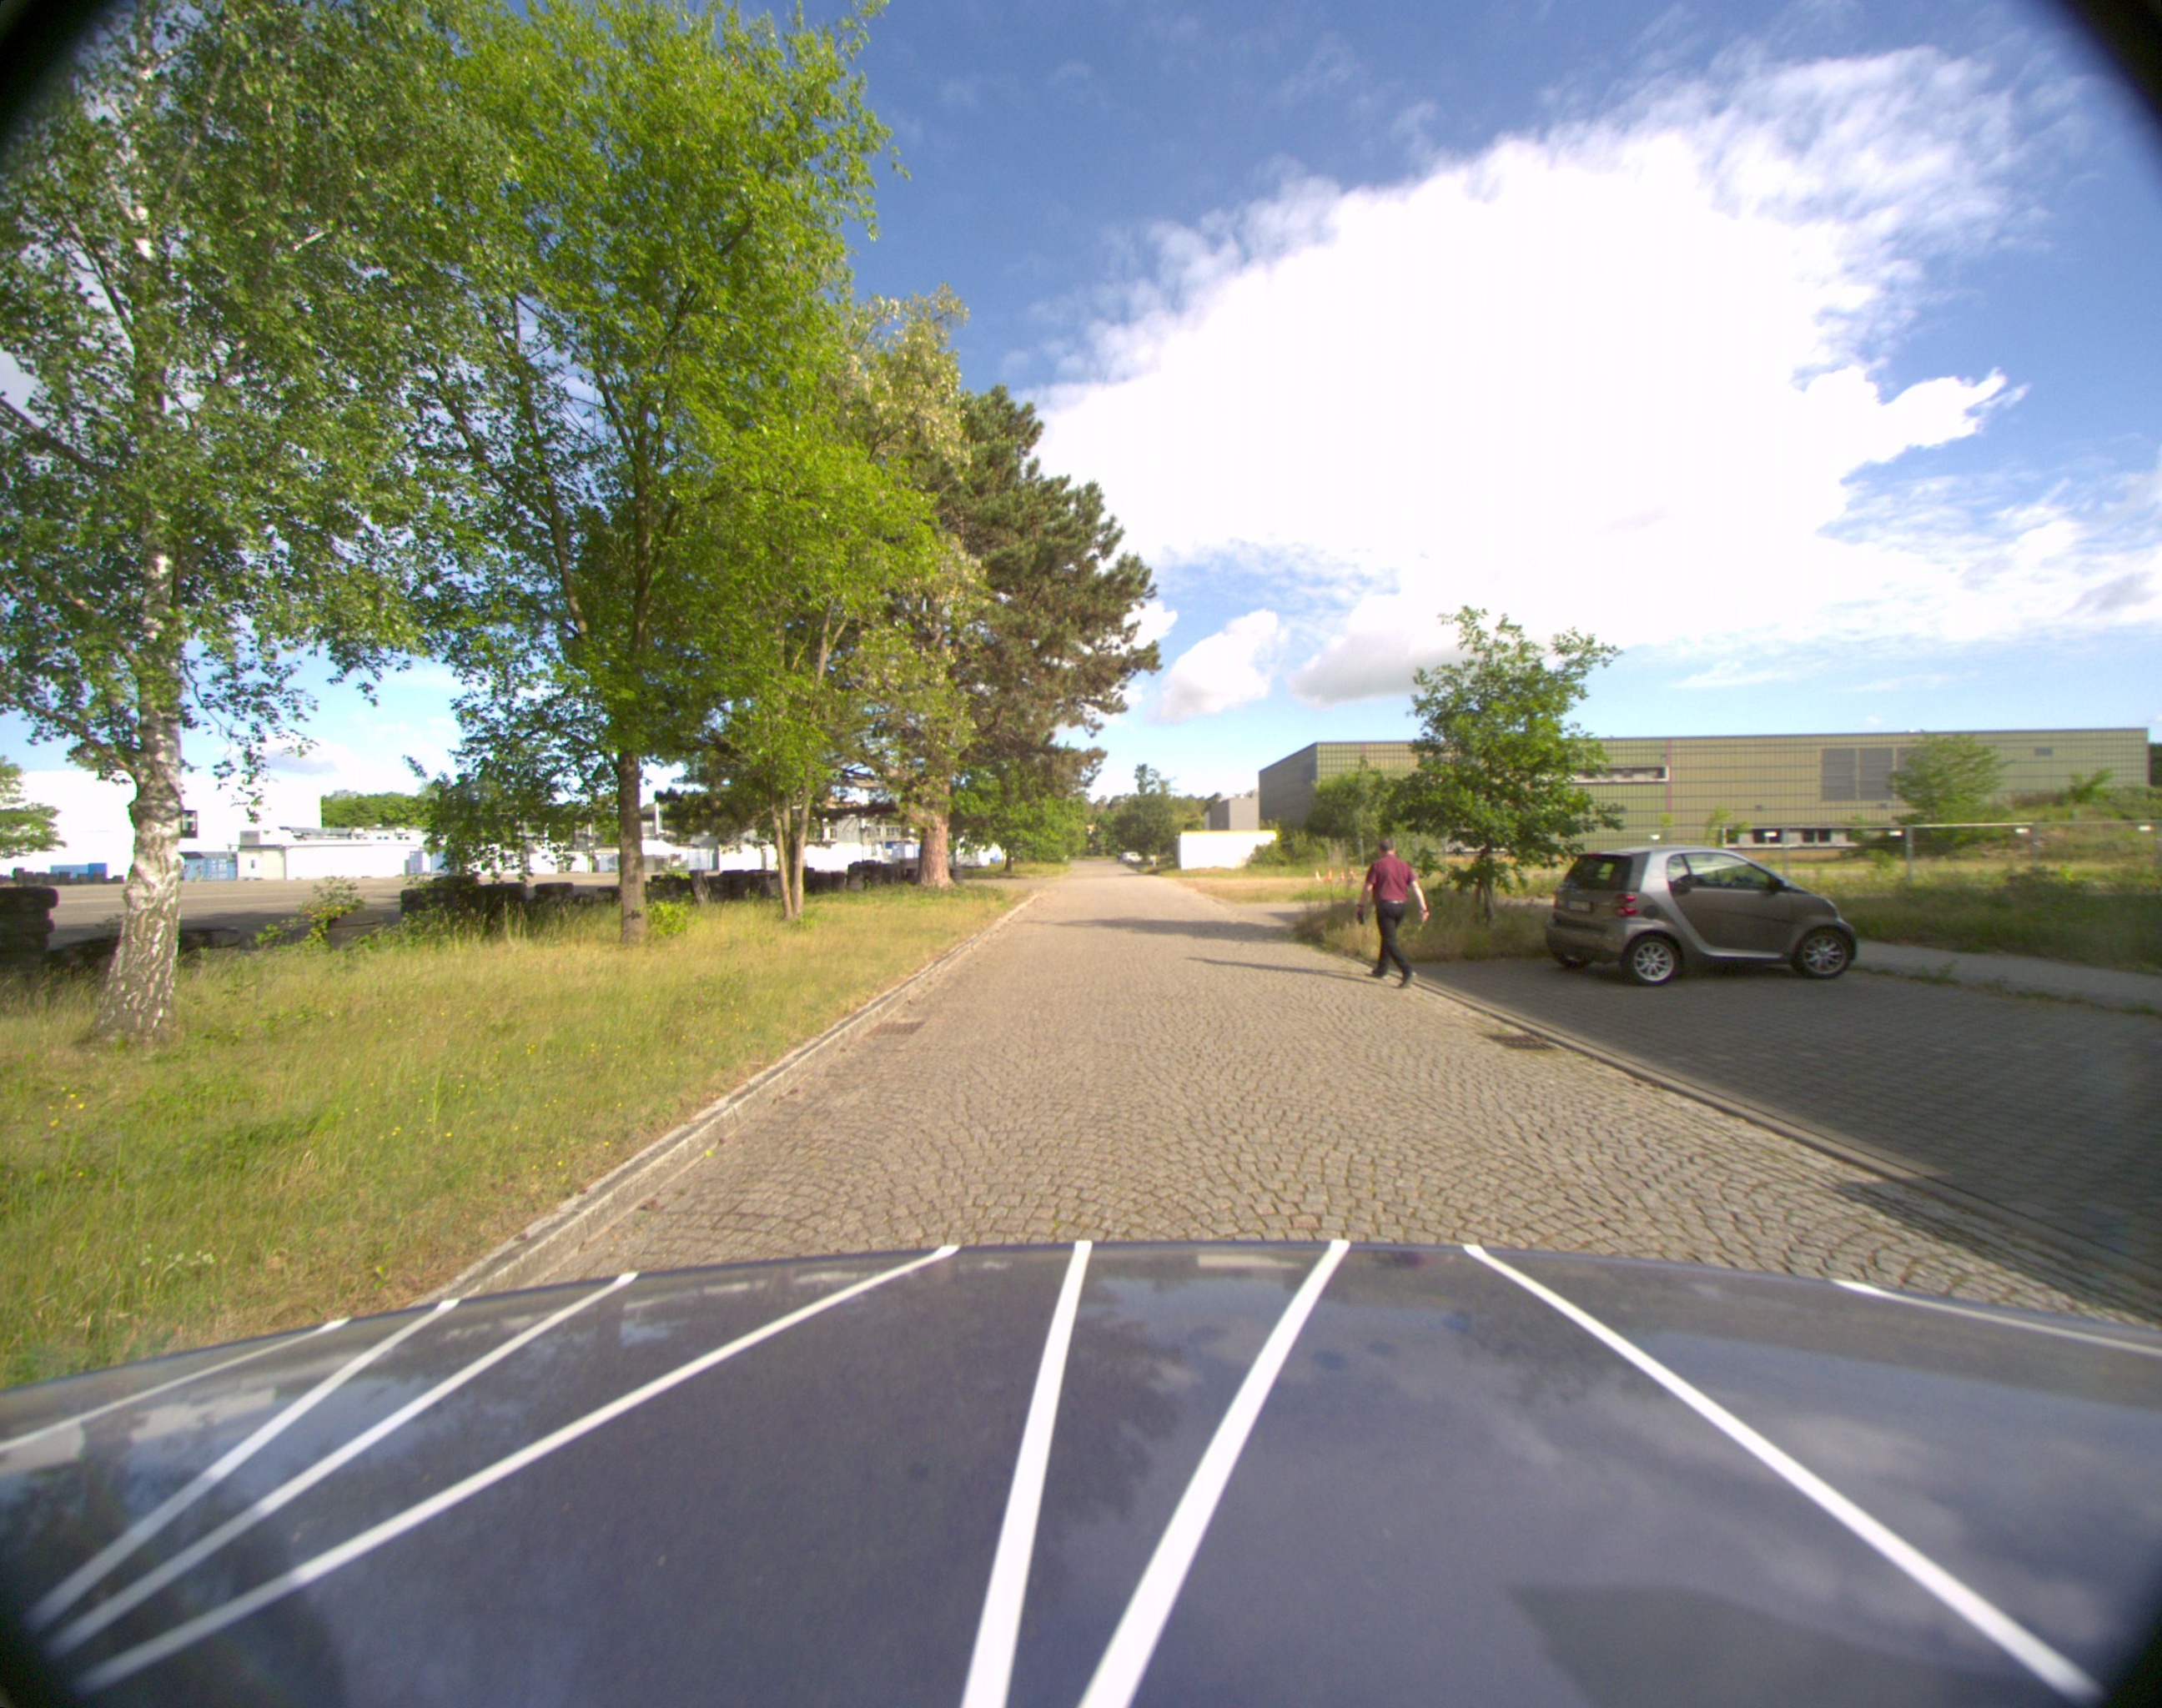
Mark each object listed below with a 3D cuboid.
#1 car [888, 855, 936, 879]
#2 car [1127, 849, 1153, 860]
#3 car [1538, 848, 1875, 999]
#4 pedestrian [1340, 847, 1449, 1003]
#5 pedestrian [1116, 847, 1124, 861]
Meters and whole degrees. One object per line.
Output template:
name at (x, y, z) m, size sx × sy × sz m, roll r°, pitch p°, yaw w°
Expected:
car at (-11.289, 0.840, 50.992) m, size 1.846 × 1.440 × 4.002 m, roll -1°, pitch 0°, yaw 7°
car at (9.022, 0.083, 116.333) m, size 3.996 × 1.678 × 2.000 m, roll -1°, pitch 1°, yaw 4°
car at (7.260, 0.751, 9.021) m, size 2.705 × 1.533 × 1.518 m, roll -3°, pitch 1°, yaw 0°
pedestrian at (3.783, 0.808, 9.260) m, size 0.806 × 1.761 × 1.152 m, roll -1°, pitch 1°, yaw -3°
pedestrian at (5.094, -0.047, 98.551) m, size 0.908 × 1.797 × 0.983 m, roll -1°, pitch 1°, yaw -6°
